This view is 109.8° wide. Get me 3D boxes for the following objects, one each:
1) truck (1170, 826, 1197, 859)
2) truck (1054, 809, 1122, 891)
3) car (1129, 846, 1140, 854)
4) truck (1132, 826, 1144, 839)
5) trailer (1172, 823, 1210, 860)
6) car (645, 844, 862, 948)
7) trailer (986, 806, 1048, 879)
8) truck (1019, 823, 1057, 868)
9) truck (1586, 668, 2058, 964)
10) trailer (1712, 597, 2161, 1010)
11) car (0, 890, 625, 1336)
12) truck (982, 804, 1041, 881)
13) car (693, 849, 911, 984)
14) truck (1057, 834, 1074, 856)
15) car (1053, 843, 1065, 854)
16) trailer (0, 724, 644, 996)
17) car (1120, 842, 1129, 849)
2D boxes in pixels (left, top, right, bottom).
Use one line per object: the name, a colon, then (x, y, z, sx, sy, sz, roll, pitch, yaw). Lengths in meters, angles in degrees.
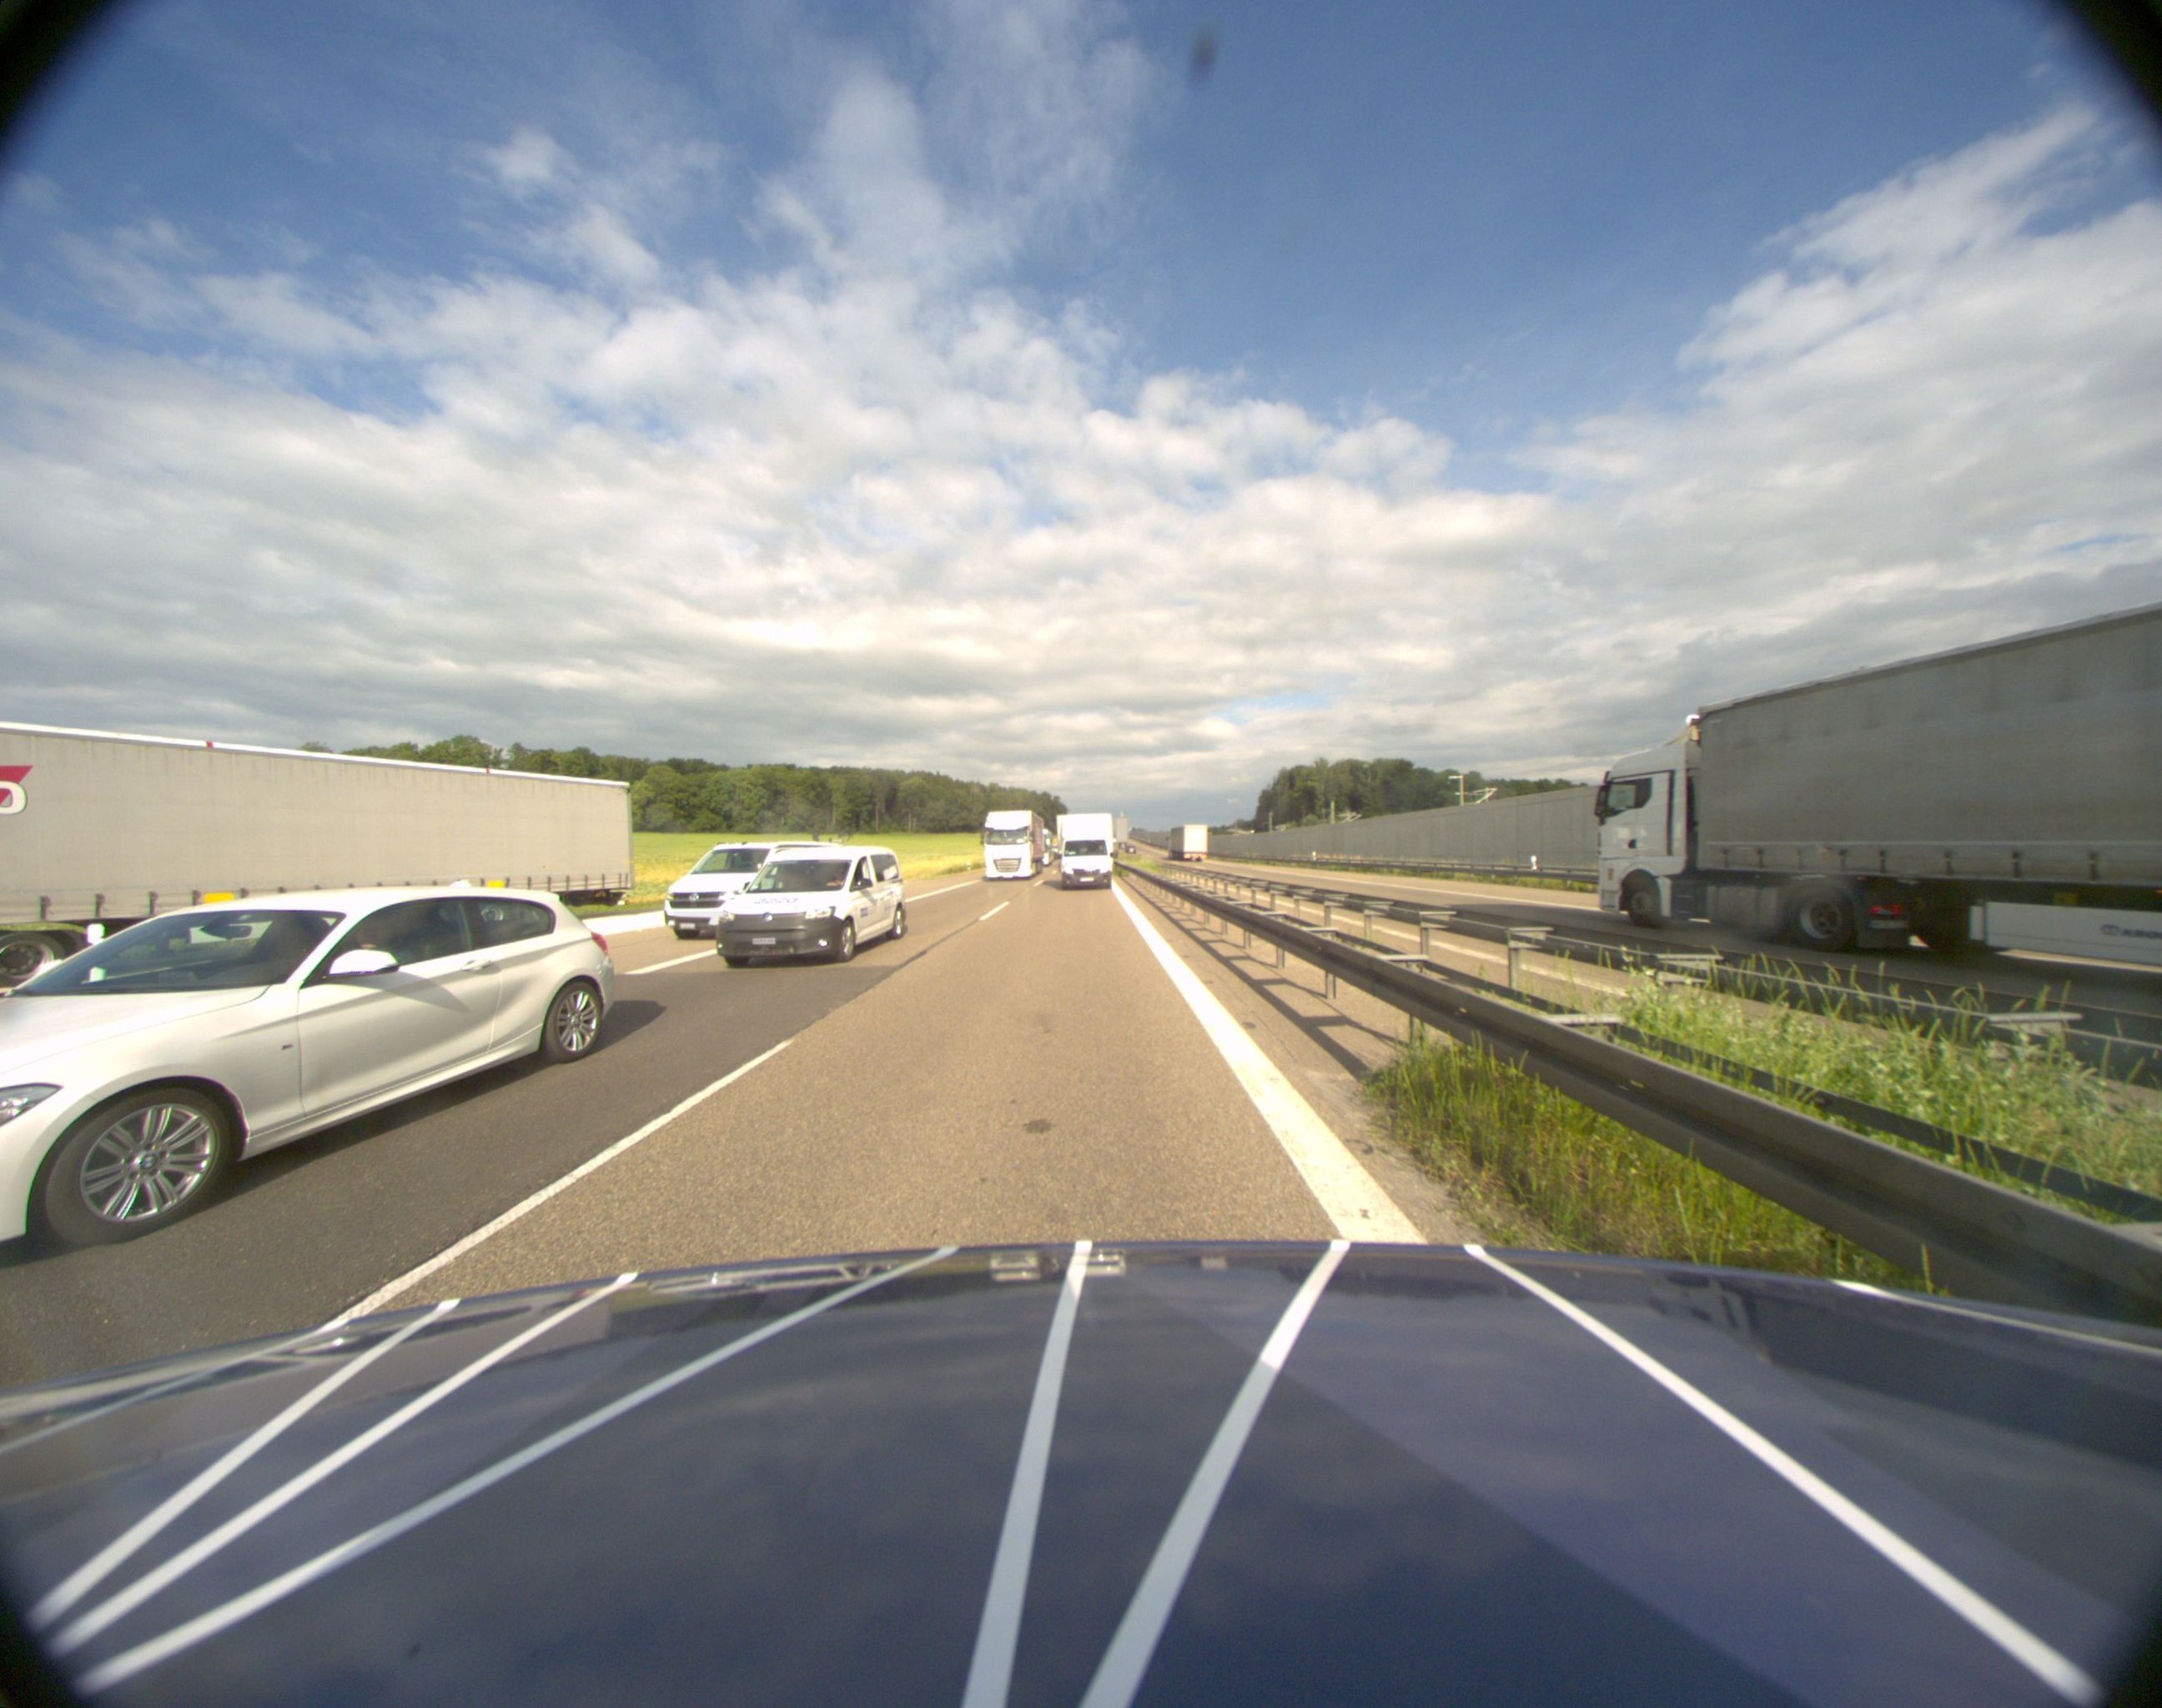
truck: (13.093, -1.444, 97.418, 2.692, 4.045, 5.878, -1, 1, 1)
truck: (0.308, -0.192, 35.495, 2.500, 3.082, 12.037, -2, 0, 0)
car: (9.451, -0.730, 133.953, 1.637, 1.393, 3.896, -1, 0, 0)
truck: (19.518, -7.418, 261.868, 2.952, 4.037, 11.745, -2, 1, 0)
trailer: (13.017, -1.407, 91.073, 2.690, 4.014, 13.790, -1, 0, 0)
car: (-6.970, 0.769, 16.974, 1.798, 1.914, 5.270, -2, 0, 9)
trailer: (-3.965, -0.798, 50.745, 2.742, 4.137, 14.016, -2, 1, 0)
truck: (-4.211, -0.864, 76.821, 2.946, 4.094, 12.523, -1, 0, 0)
truck: (12.059, -0.534, 13.266, 2.783, 4.064, 5.531, 1, 1, 0)
trailer: (11.991, -0.478, 5.973, 2.797, 4.054, 13.518, 0, 1, 0)
car: (-4.806, 1.066, 4.380, 1.708, 1.424, 4.232, -2, 0, 1)
truck: (-3.986, -0.690, 44.702, 2.736, 4.150, 5.766, -2, 1, 0)
car: (-4.275, 0.831, 12.574, 1.729, 1.746, 4.702, -2, 0, 1)
truck: (-3.019, -1.671, 151.566, 2.946, 4.094, 16.207, -1, 0, 0)
car: (-3.785, -0.933, 132.332, 1.707, 1.746, 4.676, -2, 0, 1)
trailer: (-16.473, 0.068, 16.644, 2.739, 4.136, 13.843, -2, 0, 16)
car: (9.938, -2.032, 174.123, 1.720, 1.586, 4.449, -1, 0, 1)
